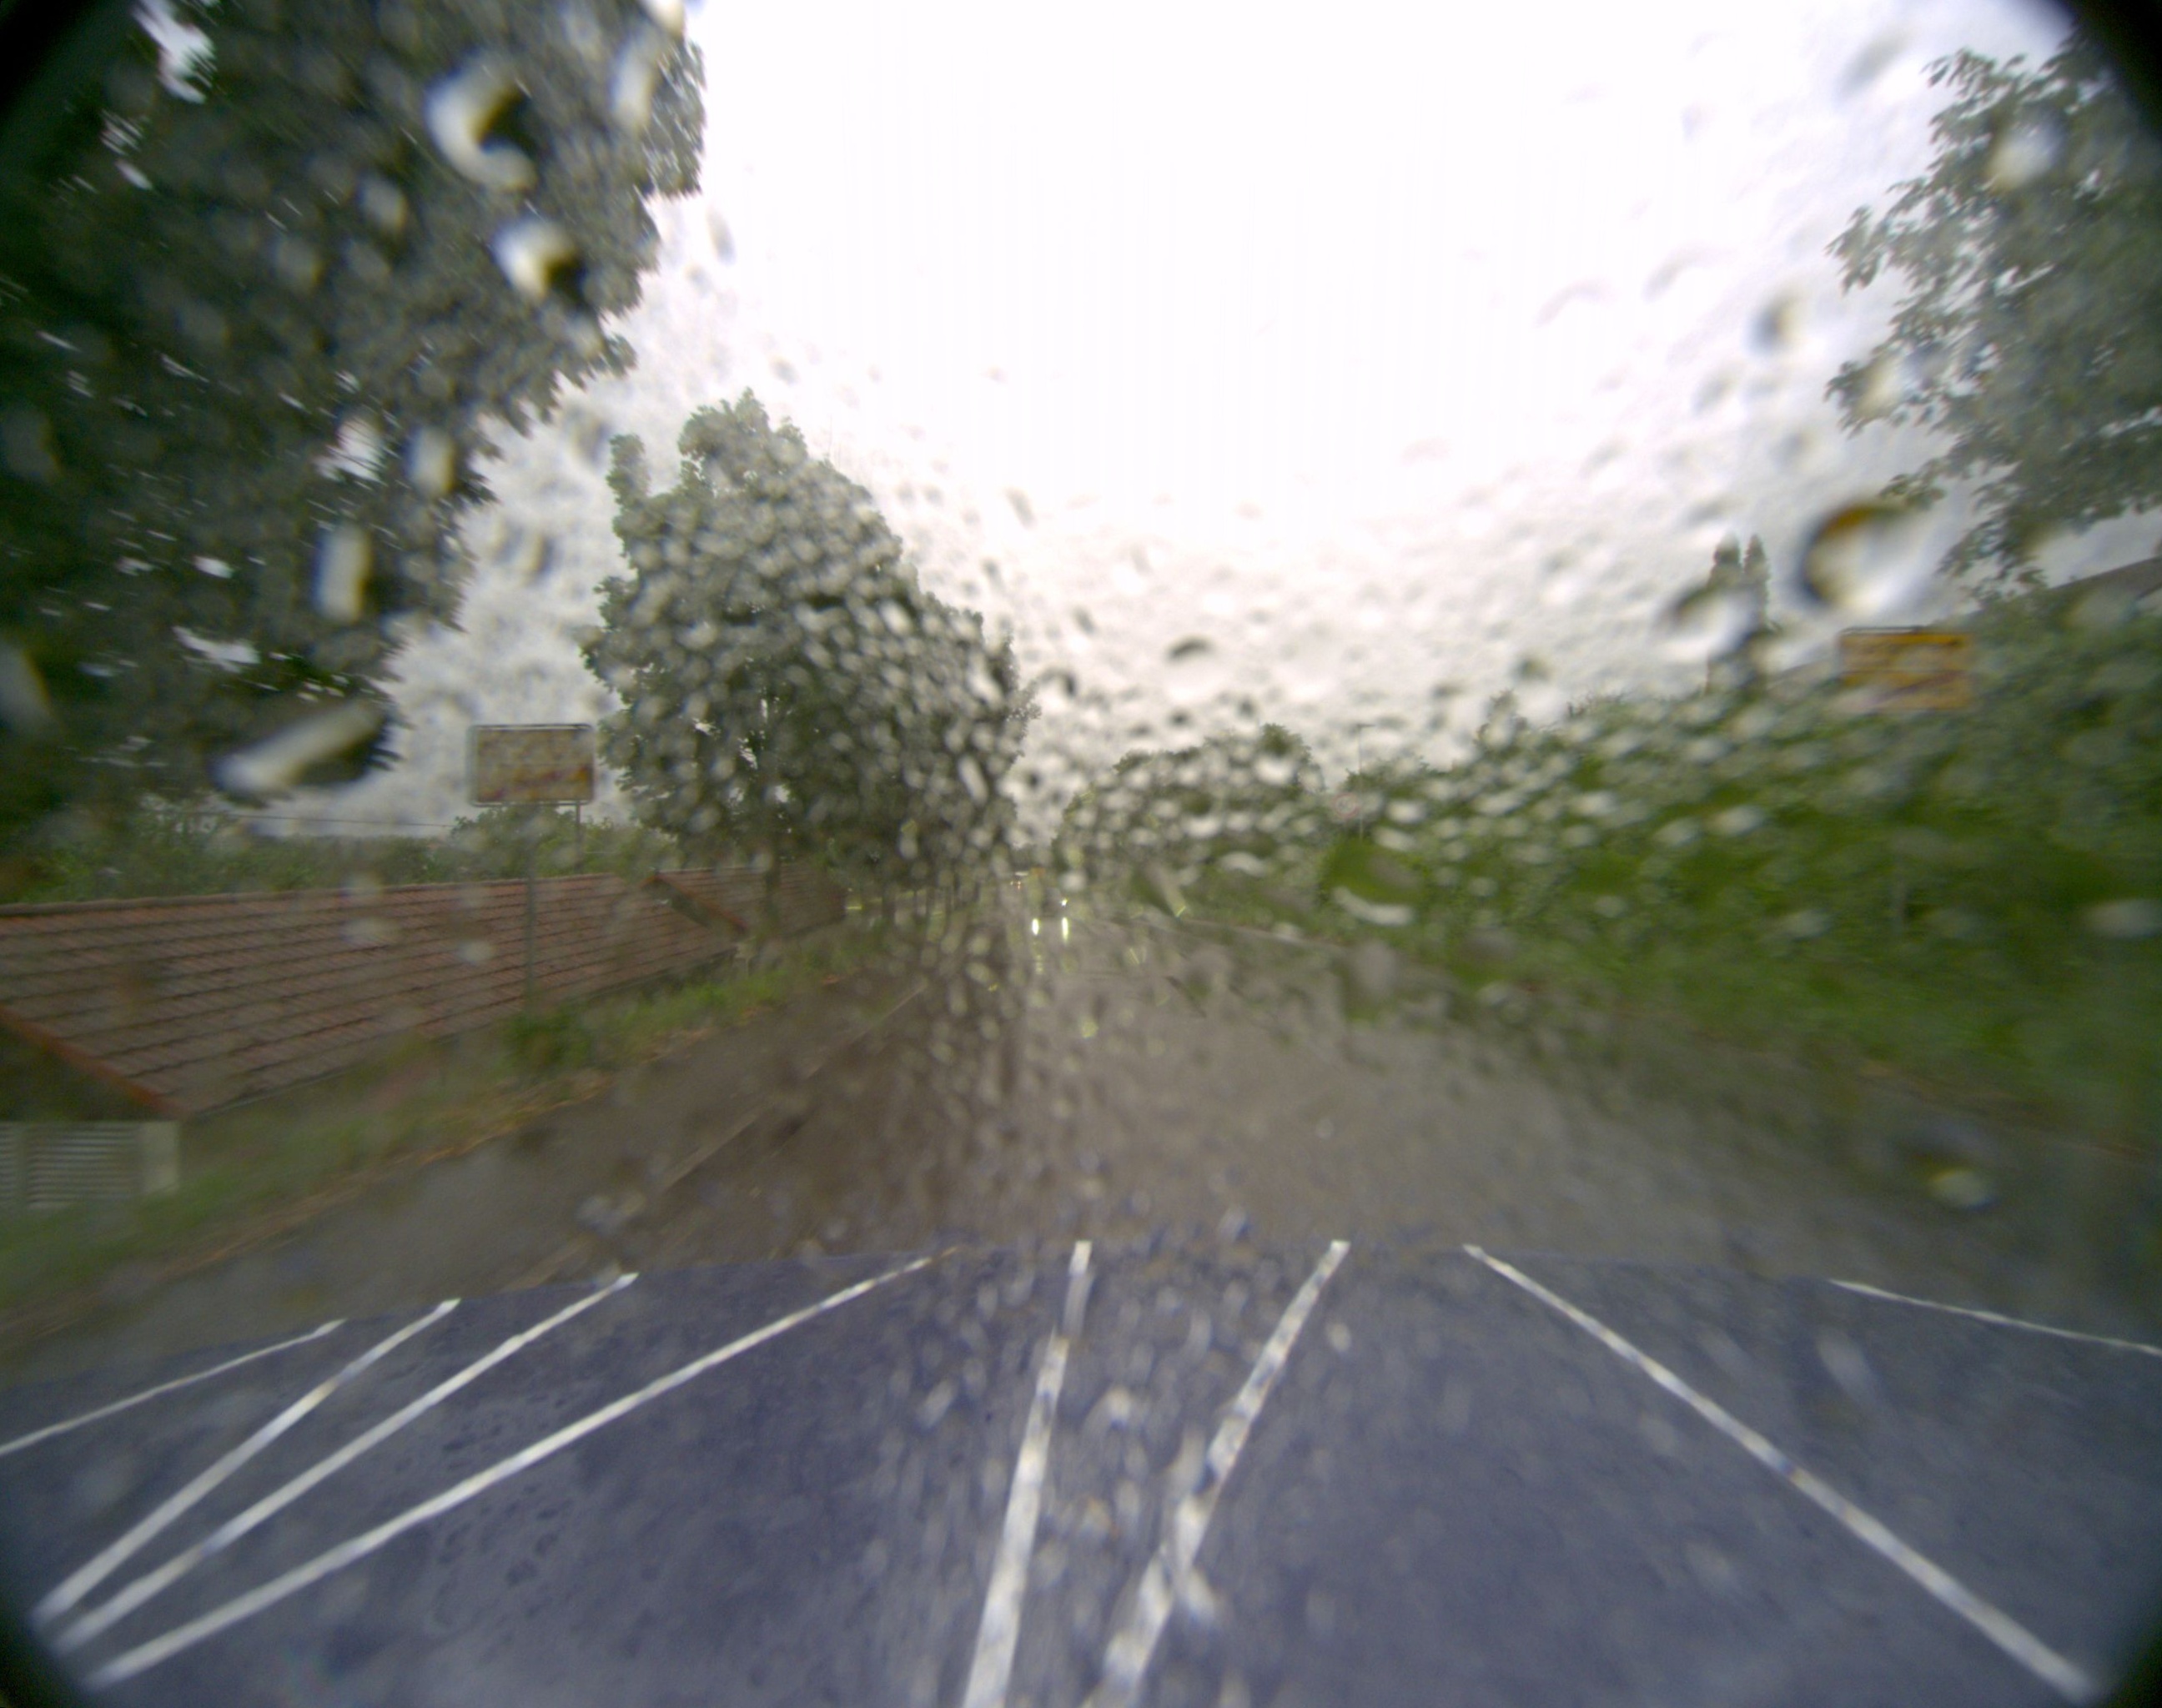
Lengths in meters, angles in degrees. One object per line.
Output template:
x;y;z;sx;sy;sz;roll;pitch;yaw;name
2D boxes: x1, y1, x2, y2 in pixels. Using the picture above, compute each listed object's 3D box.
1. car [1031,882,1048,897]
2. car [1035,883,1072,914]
-5.958;4.988;107.815;2.000;2.001;3.997;0;-1;-9;car
-1.437;2.230;38.703;1.765;1.477;3.790;1;-2;-3;car
